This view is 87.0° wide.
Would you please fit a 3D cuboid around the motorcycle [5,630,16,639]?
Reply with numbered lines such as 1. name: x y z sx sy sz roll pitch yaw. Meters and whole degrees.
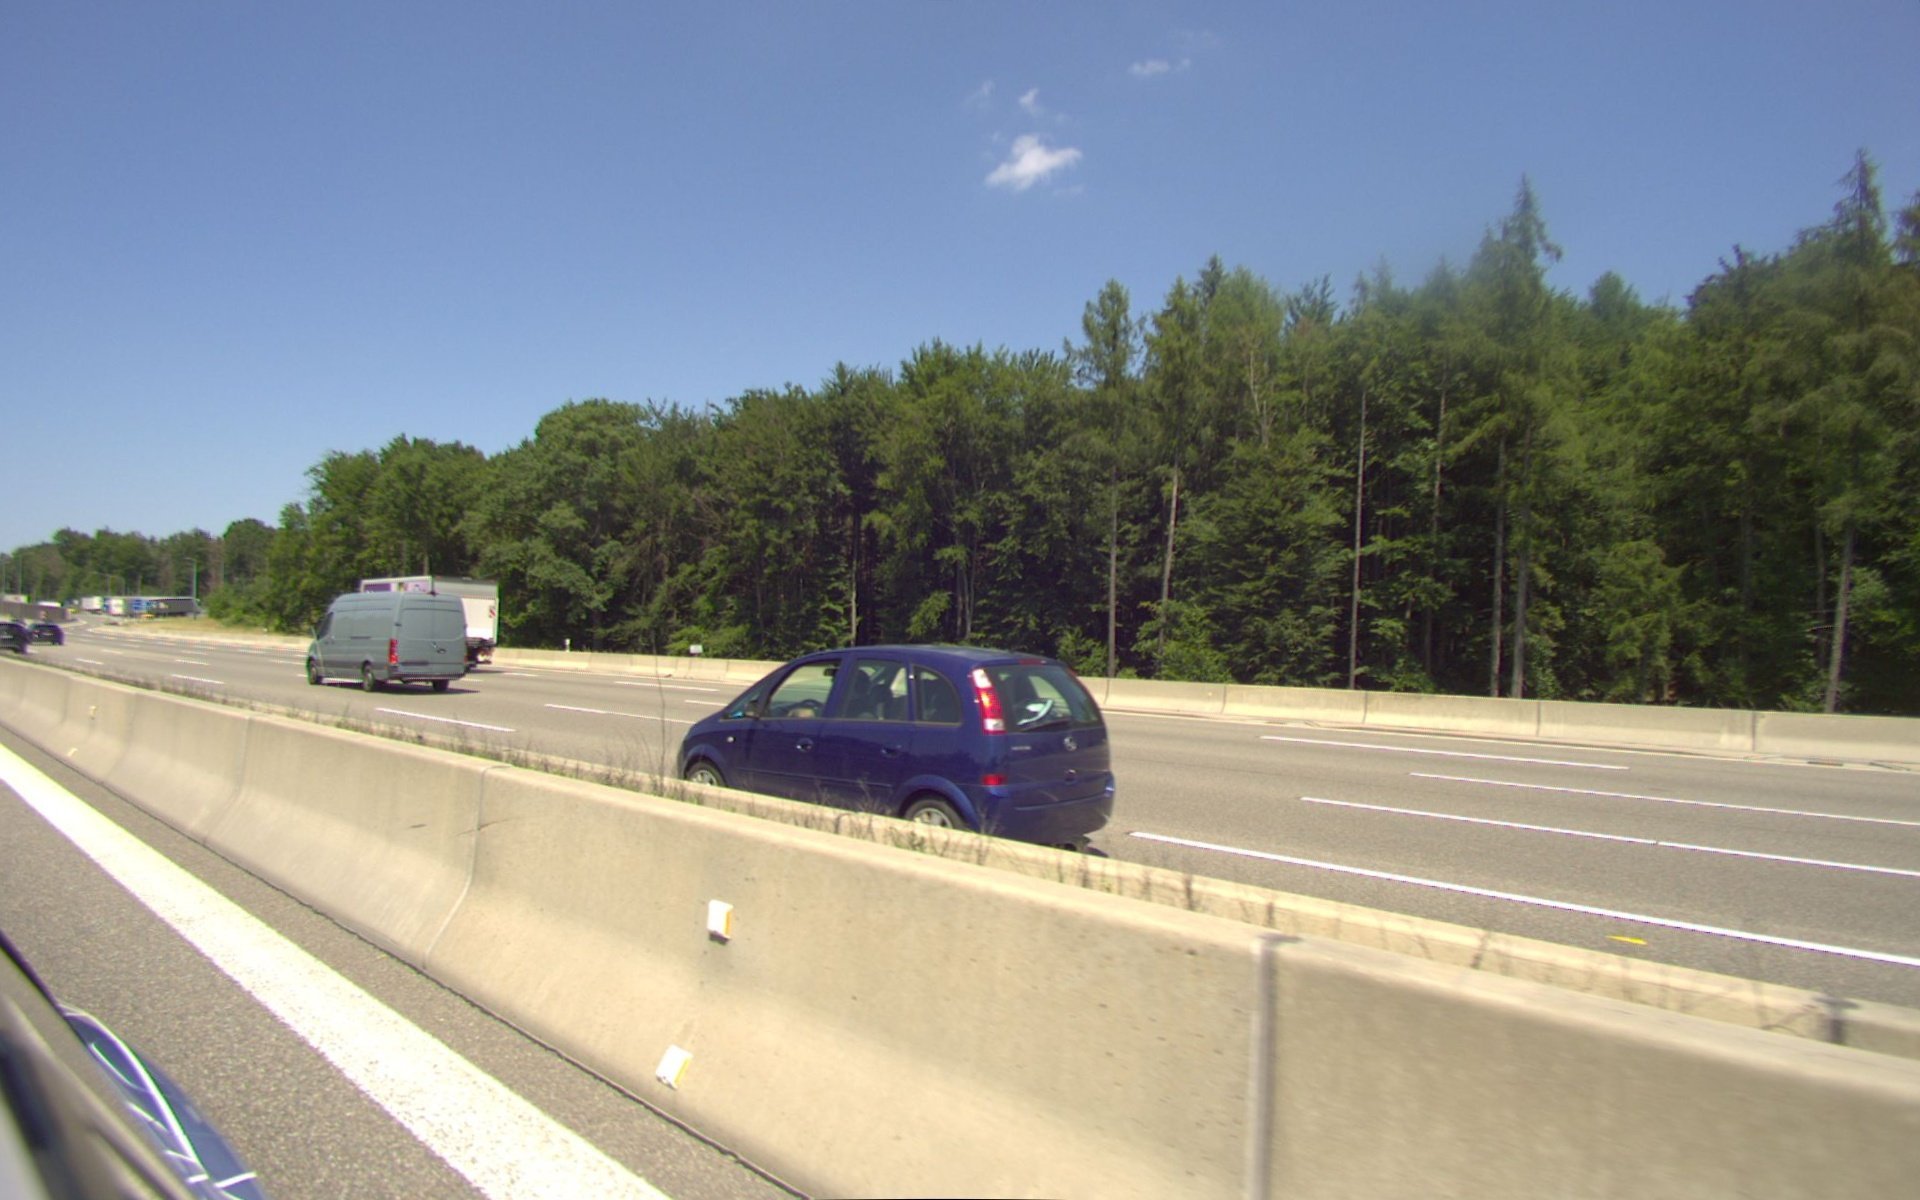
1. motorcycle: -125.933 4.542 134.262 2.755 1.150 0.769 -1 -3 42

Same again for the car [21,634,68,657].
1. car: -61.001 3.026 67.429 4.905 1.460 1.699 -2 -3 41

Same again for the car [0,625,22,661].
1. car: -46.164 2.012 48.317 3.848 1.674 1.597 -1 -3 42

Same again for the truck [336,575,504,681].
1. truck: -22.840 1.121 42.459 10.231 3.969 2.691 0 -3 41

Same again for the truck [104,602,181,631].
1. truck: -169.197 3.465 209.838 3.399 5.655 16.725 1 -2 -4

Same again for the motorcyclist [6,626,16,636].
1. motorcyclist: -125.921 4.078 134.268 1.077 1.311 0.761 0 -3 41

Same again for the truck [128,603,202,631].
1. truck: -165.742 3.613 211.320 3.175 5.655 16.725 1 -2 -4

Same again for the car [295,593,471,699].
1. car: -16.123 1.246 28.026 7.227 2.627 1.910 -2 -4 41

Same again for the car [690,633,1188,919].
1. car: -0.307 1.114 7.937 3.758 1.674 1.687 -1 -3 41
